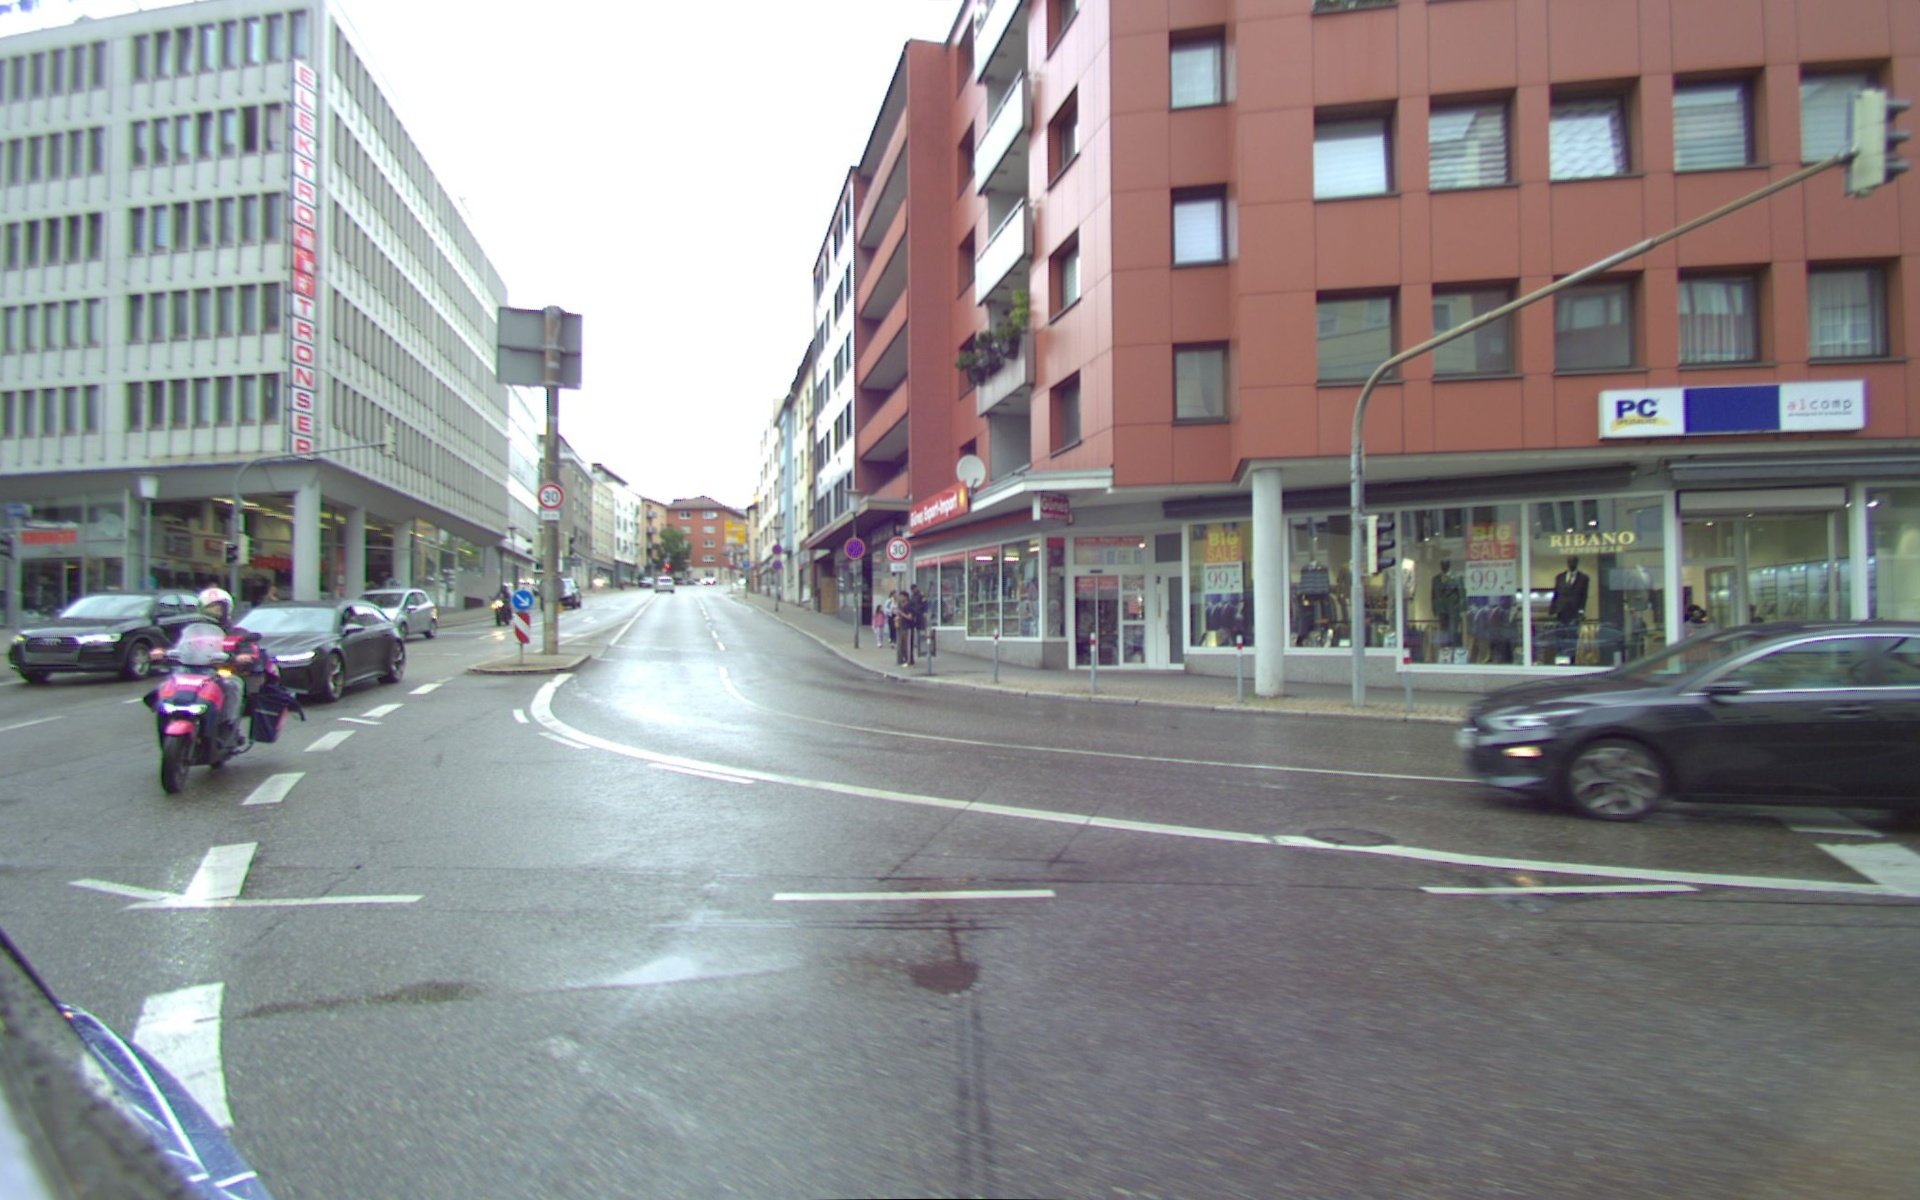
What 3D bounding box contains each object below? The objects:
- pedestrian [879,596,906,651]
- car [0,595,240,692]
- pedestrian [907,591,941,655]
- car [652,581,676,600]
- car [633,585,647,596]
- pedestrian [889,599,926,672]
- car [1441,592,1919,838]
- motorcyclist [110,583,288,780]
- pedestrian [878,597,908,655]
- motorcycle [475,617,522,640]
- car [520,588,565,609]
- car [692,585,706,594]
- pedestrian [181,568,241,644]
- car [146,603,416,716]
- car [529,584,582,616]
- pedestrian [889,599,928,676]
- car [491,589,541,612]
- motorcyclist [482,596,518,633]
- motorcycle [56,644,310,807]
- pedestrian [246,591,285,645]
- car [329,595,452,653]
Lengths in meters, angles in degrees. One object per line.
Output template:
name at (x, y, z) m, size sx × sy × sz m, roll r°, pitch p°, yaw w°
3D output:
pedestrian at (-2.082, 0.707, 31.157) m, size 0.683 × 1.642 × 0.735 m, roll -1°, pitch 0°, yaw -16°
car at (-15.420, 0.705, 18.662) m, size 1.842 × 1.559 × 4.112 m, roll 0°, pitch 0°, yaw -9°
pedestrian at (-1.034, 0.653, 29.039) m, size 0.721 × 1.760 × 0.696 m, roll -4°, pitch 1°, yaw -14°
car at (-29.082, -0.951, 99.590) m, size 1.967 × 1.751 × 4.010 m, roll -1°, pitch 1°, yaw -12°
car at (-45.508, -1.348, 144.054) m, size 1.604 × 1.383 × 3.457 m, roll -1°, pitch 1°, yaw -13°
pedestrian at (-1.290, 0.852, 24.860) m, size 0.721 × 1.761 × 0.702 m, roll -1°, pitch 0°, yaw -18°
car at (6.175, 0.750, 7.593) m, size 4.341 × 1.563 × 1.989 m, roll -1°, pitch 0°, yaw 17°
motorcyclist at (-6.674, 0.665, 8.951) m, size 1.074 × 1.617 × 0.956 m, roll 0°, pitch 0°, yaw -24°
pedestrian at (-1.949, 0.745, 29.360) m, size 0.683 × 1.642 × 0.735 m, roll -1°, pitch 0°, yaw -16°
motorcycle at (-18.075, 1.108, 39.673) m, size 0.702 × 0.848 × 2.395 m, roll 0°, pitch -1°, yaw 1°
car at (-41.245, -0.150, 100.060) m, size 3.931 × 2.029 × 2.006 m, roll 0°, pitch 0°, yaw -19°
car at (-44.158, -1.819, 171.295) m, size 1.800 × 1.447 × 3.863 m, roll -1°, pitch 1°, yaw -9°
pedestrian at (-20.488, 0.163, 27.703) m, size 0.942 × 2.029 × 0.986 m, roll 0°, pitch -1°, yaw 25°
car at (-10.397, 0.809, 15.999) m, size 1.967 × 1.502 × 4.747 m, roll 0°, pitch 0°, yaw -13°
car at (-22.204, 0.000, 55.702) m, size 1.968 × 1.696 × 4.009 m, roll 0°, pitch 0°, yaw -10°
pedestrian at (-1.218, 0.874, 23.923) m, size 0.721 × 1.761 × 0.745 m, roll -1°, pitch 0°, yaw -18°
car at (-39.098, 0.021, 89.271) m, size 3.931 × 1.971 × 1.753 m, roll 0°, pitch 0°, yaw -20°
motorcyclist at (-18.043, 0.565, 39.702) m, size 0.899 × 1.453 × 1.114 m, roll 0°, pitch -1°, yaw 1°
motorcycle at (-6.724, 1.007, 8.969) m, size 1.291 × 1.144 × 2.192 m, roll 1°, pitch 0°, yaw -24°
pedestrian at (-21.062, 0.539, 30.697) m, size 0.721 × 1.635 × 0.708 m, roll 0°, pitch -1°, yaw 29°
car at (-17.338, 0.669, 31.063) m, size 1.968 × 1.595 × 4.112 m, roll -1°, pitch 1°, yaw -9°
